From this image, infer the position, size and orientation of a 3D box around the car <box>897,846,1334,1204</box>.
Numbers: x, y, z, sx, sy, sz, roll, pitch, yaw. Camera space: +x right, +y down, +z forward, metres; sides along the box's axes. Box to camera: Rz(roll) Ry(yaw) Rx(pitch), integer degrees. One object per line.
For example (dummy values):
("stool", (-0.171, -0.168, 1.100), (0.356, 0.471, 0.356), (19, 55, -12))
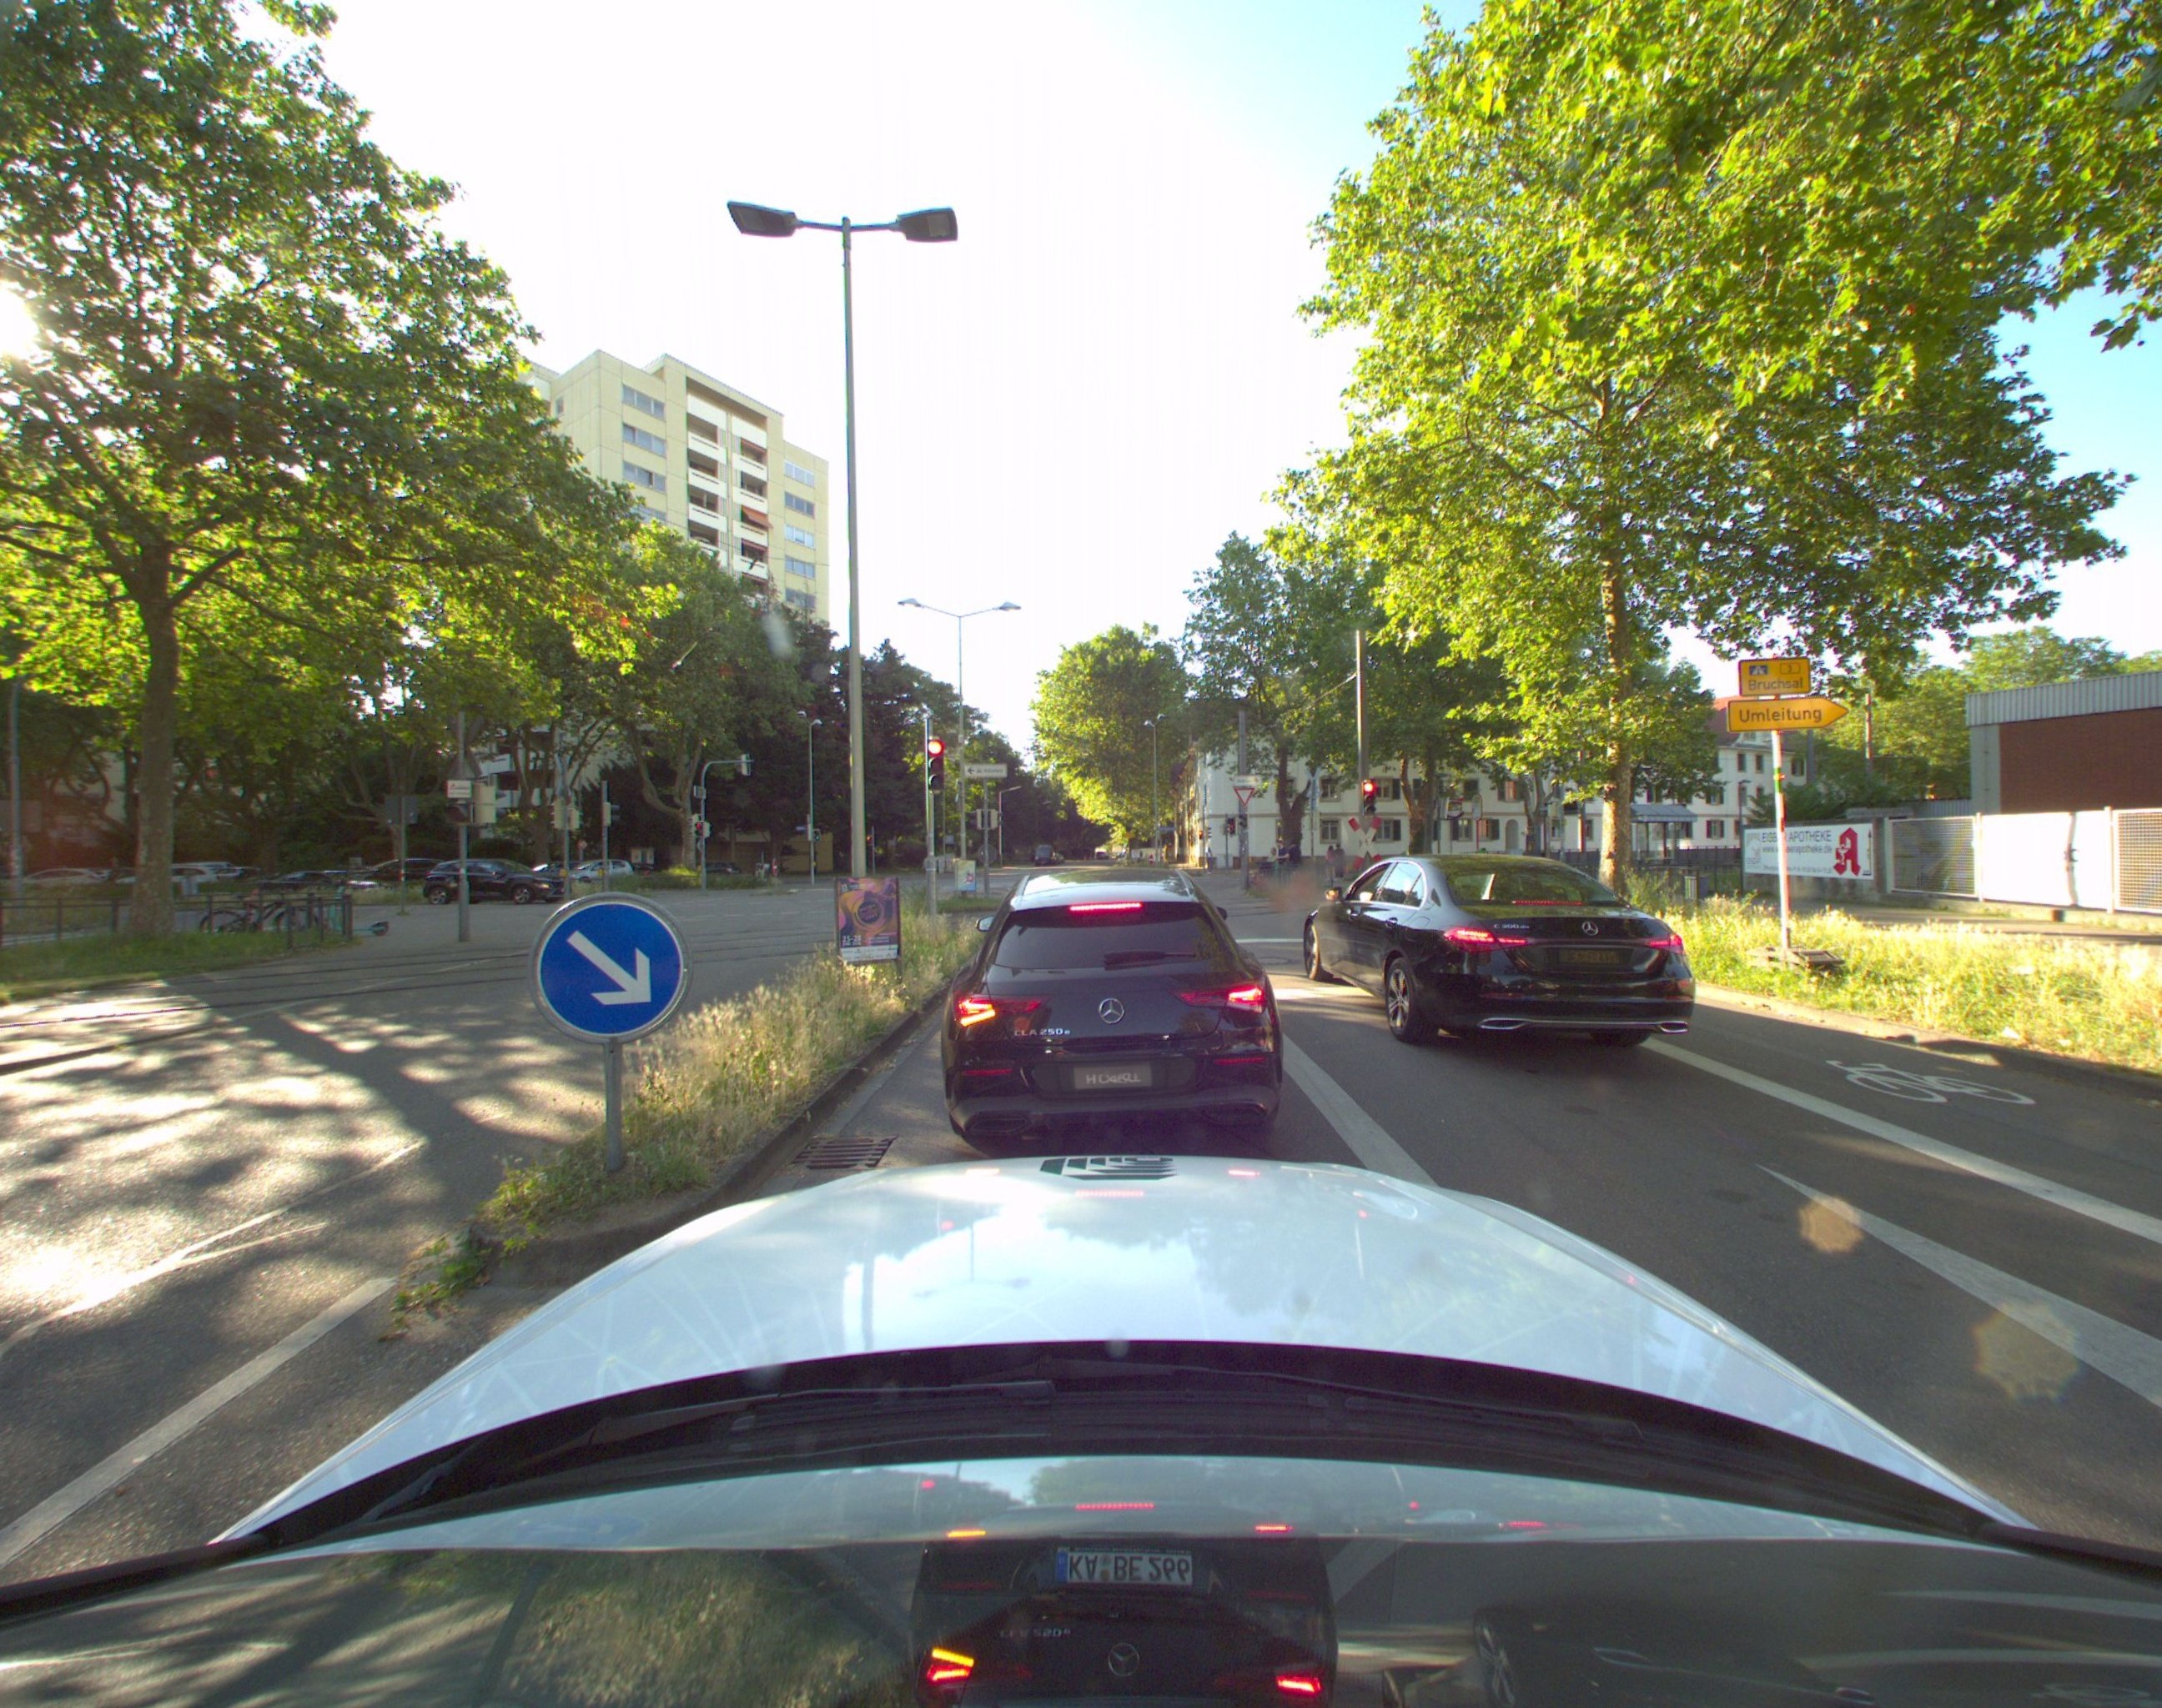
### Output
("car", (0.257, 0.720, 5.526), (1.881, 1.450, 4.004), (0, 2, 3))

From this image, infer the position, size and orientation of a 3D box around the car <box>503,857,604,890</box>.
("car", (-27.221, 0.975, 42.164), (1.716, 1.596, 4.025), (-1, -1, 32))

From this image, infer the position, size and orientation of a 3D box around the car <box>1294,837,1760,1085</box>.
("car", (3.359, 0.632, 7.294), (1.882, 1.490, 4.384), (0, 2, 2))

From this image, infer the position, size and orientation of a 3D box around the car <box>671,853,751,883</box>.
("car", (-22.640, 0.852, 49.927), (3.963, 1.774, 2.005), (-1, -1, 9))

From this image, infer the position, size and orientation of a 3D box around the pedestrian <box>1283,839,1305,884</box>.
("pedestrian", (9.165, 0.310, 35.044), (0.703, 1.918, 0.838), (0, -1, -2))

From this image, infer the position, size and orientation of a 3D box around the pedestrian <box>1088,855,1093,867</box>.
("pedestrian", (1.537, 1.053, 130.203), (0.704, 1.918, 0.837), (0, -1, -8))

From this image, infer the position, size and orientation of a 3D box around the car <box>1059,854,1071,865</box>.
("car", (-2.472, 0.829, 126.679), (1.727, 1.765, 3.972), (0, -1, 2))

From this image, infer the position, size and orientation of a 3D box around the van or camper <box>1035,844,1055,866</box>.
("van or camper", (-4.419, 0.130, 100.054), (1.986, 2.541, 4.653), (0, -1, 2))

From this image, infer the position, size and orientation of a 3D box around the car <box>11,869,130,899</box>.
("car", (-57.102, 1.664, 46.078), (1.716, 1.596, 4.025), (-1, -1, 32))

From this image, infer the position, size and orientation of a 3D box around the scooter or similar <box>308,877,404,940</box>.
("scooter or similar", (-15.095, 1.107, 16.985), (0.408, 1.239, 1.450), (-1, -1, 40))

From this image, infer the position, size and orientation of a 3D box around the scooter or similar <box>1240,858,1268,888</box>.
("scooter or similar", (6.463, 0.719, 30.461), (0.826, 1.104, 0.808), (0, -1, -4))

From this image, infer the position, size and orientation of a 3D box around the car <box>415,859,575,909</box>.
("car", (-19.536, 0.980, 27.274), (3.981, 1.596, 1.735), (0, -1, -5))

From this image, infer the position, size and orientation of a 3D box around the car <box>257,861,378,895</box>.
("car", (-37.415, 1.145, 40.002), (1.716, 1.596, 4.025), (-1, -1, 32))

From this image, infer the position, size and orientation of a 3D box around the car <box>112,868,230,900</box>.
("car", (-49.161, 1.586, 44.075), (1.716, 1.596, 4.025), (-1, -1, 32))

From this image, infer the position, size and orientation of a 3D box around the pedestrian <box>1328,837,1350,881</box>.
("pedestrian", (11.572, 0.232, 36.542), (0.703, 1.918, 0.838), (0, -1, -2))

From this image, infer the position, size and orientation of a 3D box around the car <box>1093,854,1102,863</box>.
("car", (3.246, 0.903, 158.626), (1.727, 1.765, 4.020), (0, -1, 2))

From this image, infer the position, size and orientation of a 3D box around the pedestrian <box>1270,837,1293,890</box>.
("pedestrian", (7.375, 0.344, 29.957), (0.680, 1.918, 0.707), (0, -1, 0))

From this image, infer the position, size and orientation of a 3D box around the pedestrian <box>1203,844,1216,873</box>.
("pedestrian", (8.544, 0.325, 54.192), (0.703, 1.918, 0.838), (0, -1, -2))

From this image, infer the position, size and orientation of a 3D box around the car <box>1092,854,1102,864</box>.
("car", (2.915, 0.981, 150.544), (1.727, 1.765, 4.020), (0, -1, 2))

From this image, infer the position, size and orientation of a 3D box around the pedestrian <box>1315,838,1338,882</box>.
("pedestrian", (10.721, 0.261, 35.561), (0.703, 1.918, 0.838), (0, -1, -2))

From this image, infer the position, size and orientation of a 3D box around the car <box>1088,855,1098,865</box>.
("car", (2.104, 1.009, 145.739), (1.727, 1.765, 4.020), (0, -1, 2))

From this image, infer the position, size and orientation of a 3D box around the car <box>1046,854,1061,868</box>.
("car", (-3.662, 0.952, 110.048), (1.727, 1.765, 4.343), (0, -1, 2))

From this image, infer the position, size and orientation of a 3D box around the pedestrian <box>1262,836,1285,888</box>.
("pedestrian", (7.287, 0.299, 30.862), (0.681, 1.918, 0.707), (0, -1, -2))

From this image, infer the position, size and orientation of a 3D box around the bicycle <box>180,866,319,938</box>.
("bicycle", (-15.954, 0.902, 15.673), (1.845, 1.307, 0.380), (0, -1, -26))

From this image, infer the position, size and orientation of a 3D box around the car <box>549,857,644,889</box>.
("car", (-24.925, 0.946, 42.032), (1.716, 1.596, 3.831), (-1, -1, 32))
